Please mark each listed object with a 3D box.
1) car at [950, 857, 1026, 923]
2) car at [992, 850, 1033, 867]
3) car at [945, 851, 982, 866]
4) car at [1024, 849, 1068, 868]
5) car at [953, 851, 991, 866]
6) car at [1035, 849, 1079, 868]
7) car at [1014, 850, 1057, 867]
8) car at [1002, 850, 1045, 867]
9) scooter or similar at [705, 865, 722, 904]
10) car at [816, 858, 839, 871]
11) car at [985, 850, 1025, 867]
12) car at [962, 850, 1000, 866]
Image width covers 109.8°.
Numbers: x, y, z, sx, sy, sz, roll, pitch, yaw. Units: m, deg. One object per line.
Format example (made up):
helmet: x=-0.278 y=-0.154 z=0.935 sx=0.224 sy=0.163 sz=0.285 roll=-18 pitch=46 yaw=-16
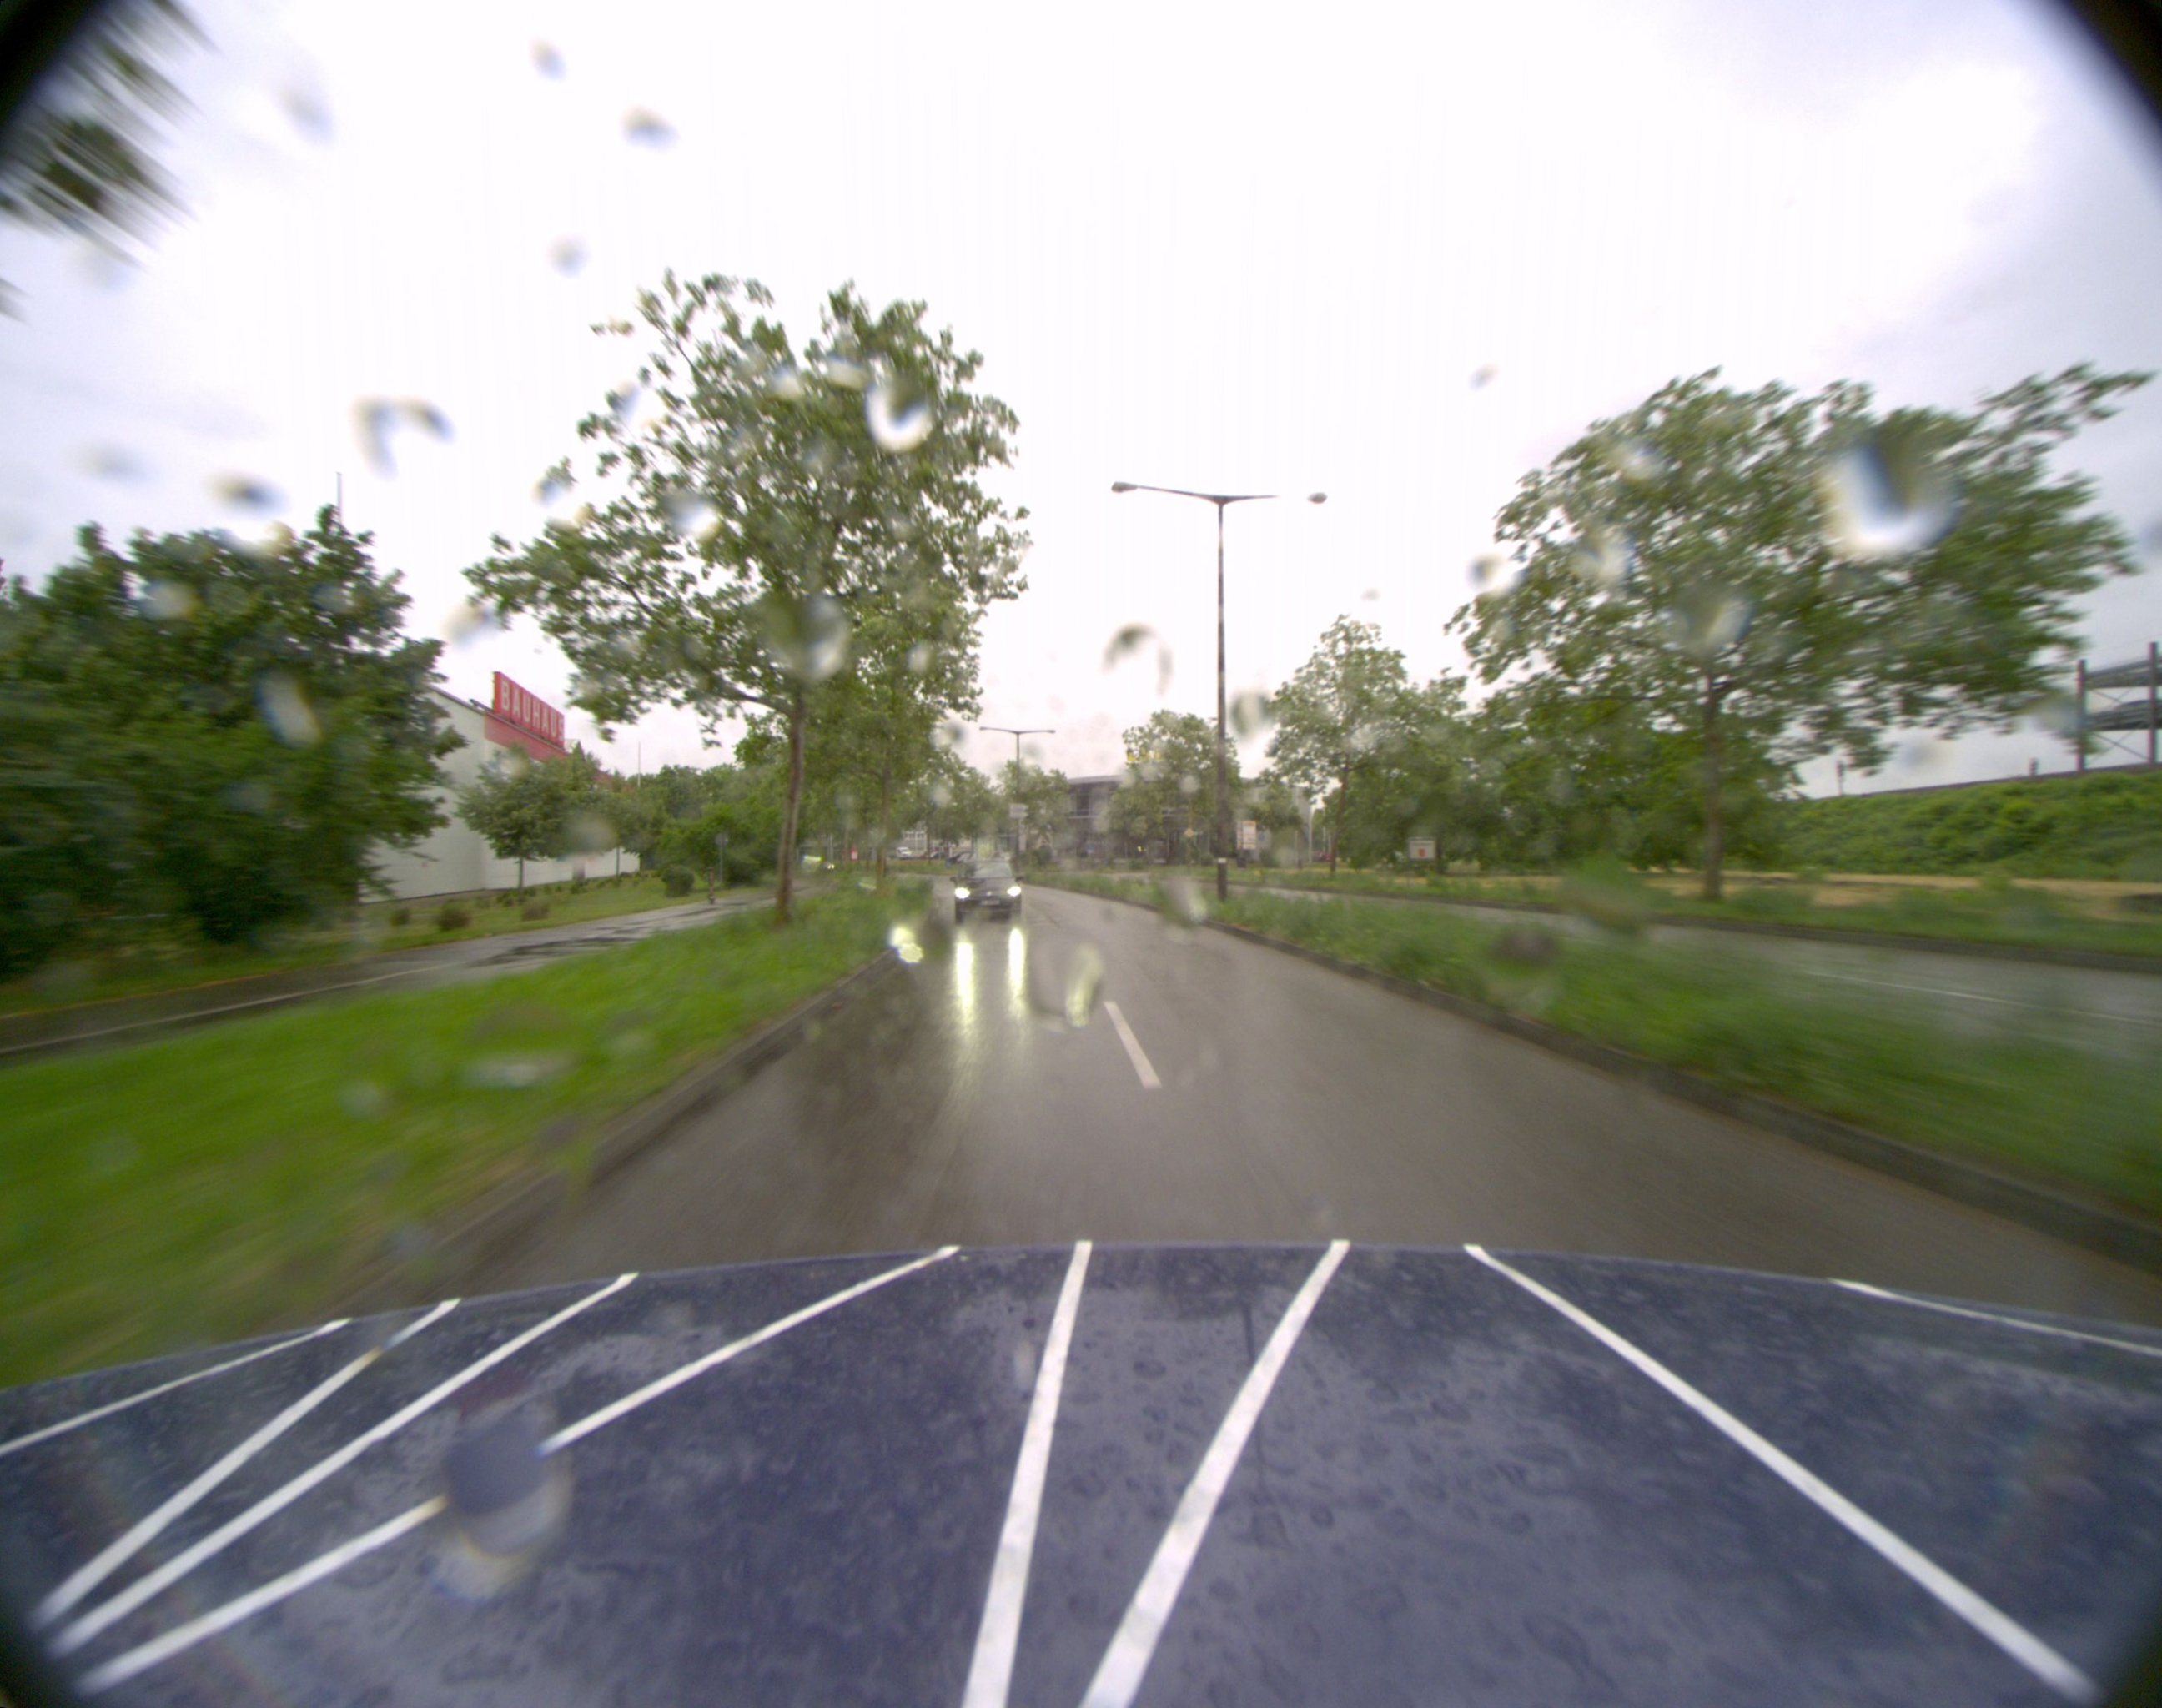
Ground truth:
car: x=-2.798 y=0.931 z=22.003 sx=1.790 sy=1.605 sz=4.712 roll=-3 pitch=0 yaw=-11
car: x=-7.329 y=0.459 z=81.727 sx=4.007 sy=1.650 sz=1.860 roll=-3 pitch=1 yaw=-38
car: x=-14.288 y=0.540 z=92.691 sx=4.007 sy=1.650 sz=1.860 roll=-3 pitch=1 yaw=-38
car: x=-3.517 y=0.432 z=76.444 sx=4.007 sy=1.650 sz=1.860 roll=-3 pitch=1 yaw=-38
car: x=-13.056 y=0.519 z=91.186 sx=4.007 sy=1.650 sz=1.860 roll=-3 pitch=1 yaw=-38
car: x=-2.358 y=0.415 z=74.844 sx=4.007 sy=1.650 sz=1.860 roll=-3 pitch=1 yaw=-38
car: x=-4.660 y=0.449 z=78.041 sx=4.007 sy=1.650 sz=1.860 roll=-3 pitch=1 yaw=-38
car: x=-6.021 y=0.472 z=79.690 sx=4.007 sy=1.650 sz=1.860 roll=-3 pitch=1 yaw=-38
scooter or similar: x=-12.442 y=1.014 z=25.743 sx=0.451 sy=1.267 sz=1.598 roll=-1 pitch=0 yaw=-24
car: x=-32.185 y=1.311 z=96.339 sx=2.003 sy=1.641 sz=3.990 roll=-2 pitch=0 yaw=-30
car: x=-8.383 y=0.466 z=83.764 sx=4.007 sy=1.650 sz=1.860 roll=-3 pitch=1 yaw=-38
car: x=-11.734 y=0.495 z=89.616 sx=4.007 sy=1.650 sz=1.860 roll=-3 pitch=1 yaw=-38
